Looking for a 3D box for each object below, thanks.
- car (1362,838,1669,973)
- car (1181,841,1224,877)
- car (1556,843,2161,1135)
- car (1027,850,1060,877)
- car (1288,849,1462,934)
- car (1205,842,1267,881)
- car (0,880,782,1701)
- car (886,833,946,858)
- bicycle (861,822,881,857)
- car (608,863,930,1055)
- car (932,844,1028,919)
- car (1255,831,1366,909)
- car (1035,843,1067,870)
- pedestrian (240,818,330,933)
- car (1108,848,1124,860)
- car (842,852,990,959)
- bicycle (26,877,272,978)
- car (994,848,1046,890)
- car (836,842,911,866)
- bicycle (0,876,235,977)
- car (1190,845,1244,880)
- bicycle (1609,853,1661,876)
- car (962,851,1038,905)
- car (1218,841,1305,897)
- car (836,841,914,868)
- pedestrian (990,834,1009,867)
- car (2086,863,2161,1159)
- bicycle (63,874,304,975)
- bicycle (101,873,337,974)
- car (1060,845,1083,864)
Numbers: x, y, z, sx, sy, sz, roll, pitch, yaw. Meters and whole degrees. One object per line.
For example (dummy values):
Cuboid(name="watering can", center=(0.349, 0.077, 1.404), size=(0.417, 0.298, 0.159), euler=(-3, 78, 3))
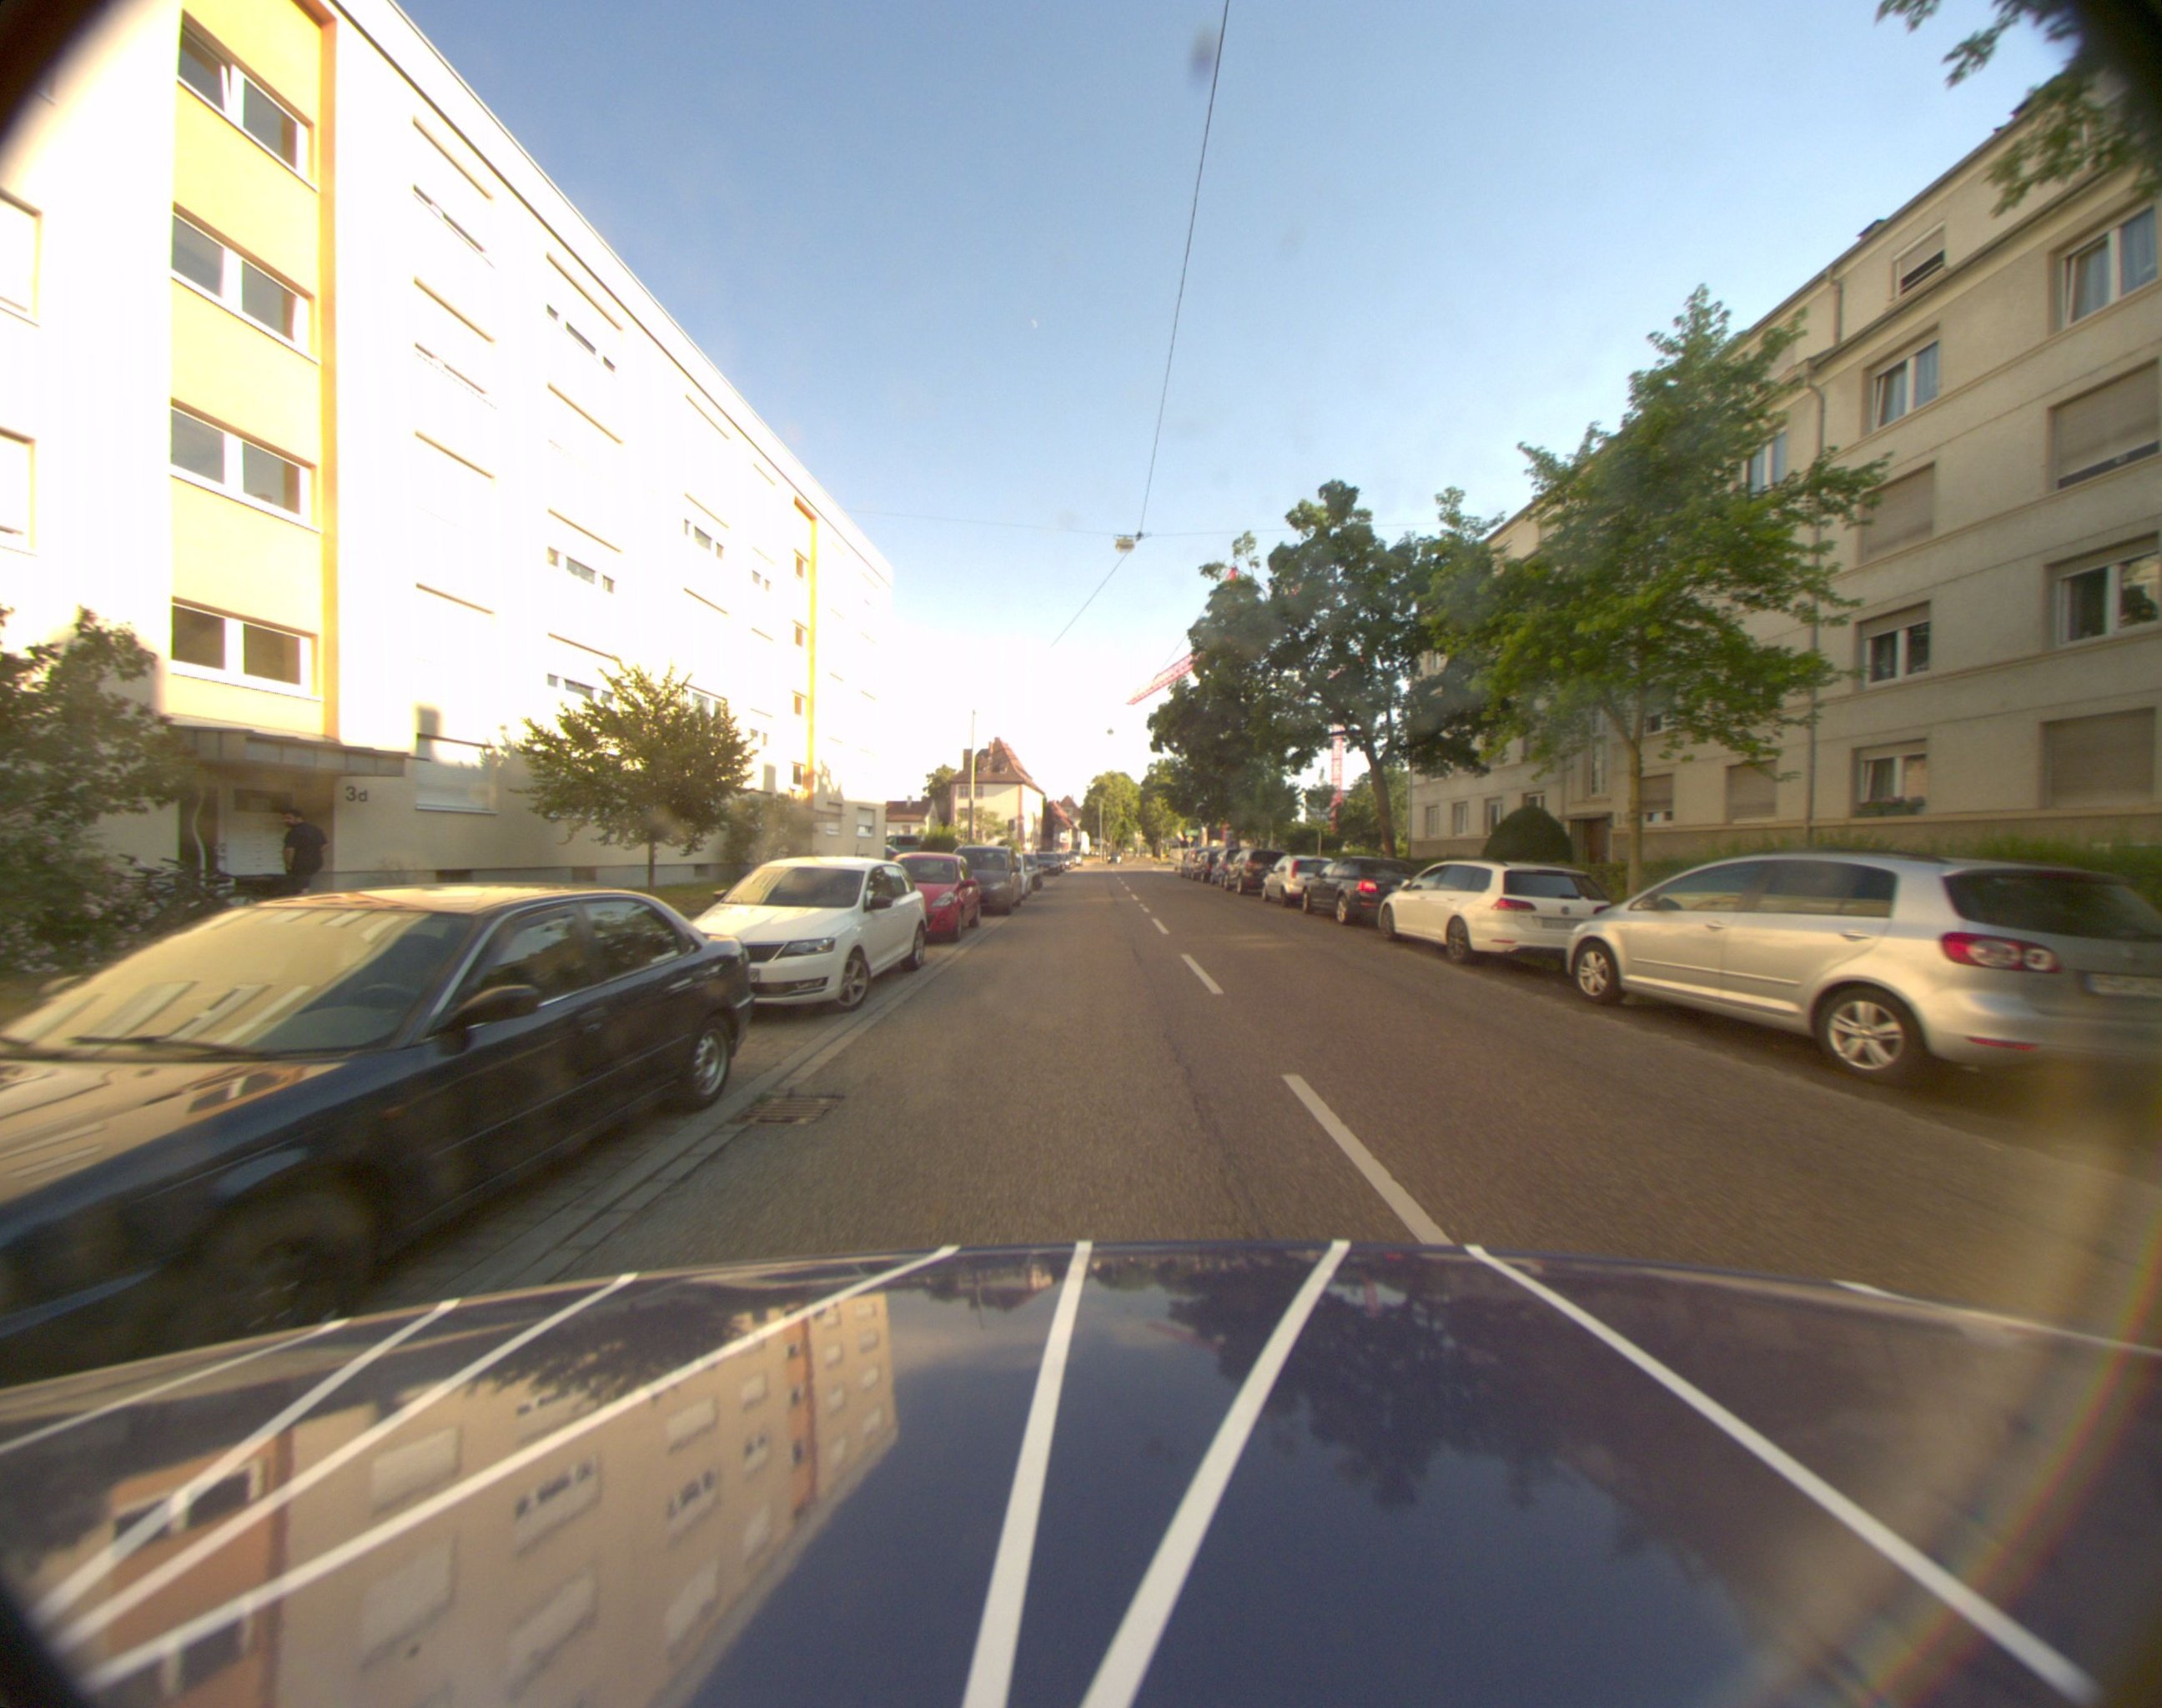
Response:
Cuboid(name="car", center=(6.094, 0.575, 11.431), size=(2.009, 1.543, 4.470), euler=(-2, 2, -1))
Cuboid(name="car", center=(6.873, 0.243, 43.380), size=(1.845, 1.886, 4.486), euler=(1, 2, 2))
Cuboid(name="car", center=(6.075, 0.721, 6.190), size=(1.878, 1.543, 3.998), euler=(-1, 2, -1))
Cuboid(name="car", center=(-2.390, 0.566, 49.347), size=(1.891, 1.553, 4.944), euler=(-1, 1, -1))
Cuboid(name="car", center=(6.237, 0.703, 16.848), size=(1.878, 1.426, 4.802), euler=(3, 1, -1))
Cuboid(name="car", center=(6.790, 0.293, 33.749), size=(1.878, 1.543, 3.998), euler=(-2, 2, -1))
Cuboid(name="car", center=(-3.005, 0.981, 3.188), size=(1.665, 1.430, 4.312), euler=(-2, 1, 1))
Cuboid(name="car", center=(-12.649, -0.674, 58.414), size=(3.996, 1.784, 2.000), euler=(-2, 2, 2))
Cuboid(name="bicycle", center=(-7.583, -0.534, 27.516), size=(0.334, 1.185, 1.239), euler=(7, 2, -4))
Cuboid(name="car", center=(-2.985, 0.898, 8.298), size=(1.776, 1.445, 3.999), euler=(0, 2, 1))
Cuboid(name="car", center=(-2.509, 0.605, 19.991), size=(1.776, 1.668, 4.645), euler=(0, 2, 1))
Cuboid(name="car", center=(6.498, 0.366, 21.994), size=(1.998, 2.002, 3.999), euler=(2, 2, 1))
Cuboid(name="car", center=(-2.217, 0.158, 57.272), size=(1.905, 1.769, 4.582), euler=(3, 2, 4))
Cuboid(name="pedestrian", center=(-11.818, 0.313, 11.300), size=(0.767, 1.649, 0.536), euler=(2, 2, 1))
Cuboid(name="car", center=(4.425, -0.050, 95.904), size=(1.775, 1.492, 3.673), euler=(-1, 0, -2))
Cuboid(name="car", center=(-2.873, 0.824, 14.132), size=(1.776, 1.607, 3.999), euler=(-1, 2, 1))
Cuboid(name="bicycle", center=(-10.630, 0.795, 8.780), size=(0.438, 0.936, 1.791), euler=(-2, 2, 7))
Cuboid(name="car", center=(-2.442, 0.569, 31.494), size=(1.803, 1.498, 4.620), euler=(-1, 2, -1))
Cuboid(name="car", center=(-14.075, 0.007, 51.635), size=(4.486, 1.447, 1.732), euler=(-2, 2, 4))
Cuboid(name="bicycle", center=(-11.116, 0.783, 8.796), size=(0.438, 0.936, 1.791), euler=(-2, 2, 7))
Cuboid(name="car", center=(6.748, 0.383, 38.129), size=(1.878, 1.543, 3.998), euler=(3, 1, -1))
Cuboid(name="bicycle", center=(18.254, 0.330, 25.071), size=(0.409, 0.705, 1.788), euler=(-2, 2, 0))
Cuboid(name="car", center=(-2.568, 0.712, 24.929), size=(1.775, 1.499, 4.000), euler=(-2, 2, 3))
Cuboid(name="car", center=(6.454, 0.469, 27.744), size=(1.878, 1.749, 4.688), euler=(3, 1, -1))
Cuboid(name="car", center=(-13.061, 0.004, 48.293), size=(4.486, 1.593, 1.732), euler=(1, 2, 4))
Cuboid(name="pedestrian", center=(-4.752, -0.239, 44.399), size=(0.891, 1.880, 1.279), euler=(-2, 2, 1))
Cuboid(name="car", center=(5.935, 0.748, 1.771), size=(1.878, 1.348, 3.998), euler=(-2, 1, -1))
Cuboid(name="bicycle", center=(-10.155, 0.751, 8.717), size=(0.438, 0.936, 1.791), euler=(-2, 2, 7))
Cuboid(name="bicycle", center=(-9.686, 0.736, 8.658), size=(0.438, 0.936, 1.791), euler=(-2, 2, 7))
Cuboid(name="car", center=(-0.963, 0.048, 79.665), size=(1.925, 1.769, 4.810), euler=(3, 2, 4))
